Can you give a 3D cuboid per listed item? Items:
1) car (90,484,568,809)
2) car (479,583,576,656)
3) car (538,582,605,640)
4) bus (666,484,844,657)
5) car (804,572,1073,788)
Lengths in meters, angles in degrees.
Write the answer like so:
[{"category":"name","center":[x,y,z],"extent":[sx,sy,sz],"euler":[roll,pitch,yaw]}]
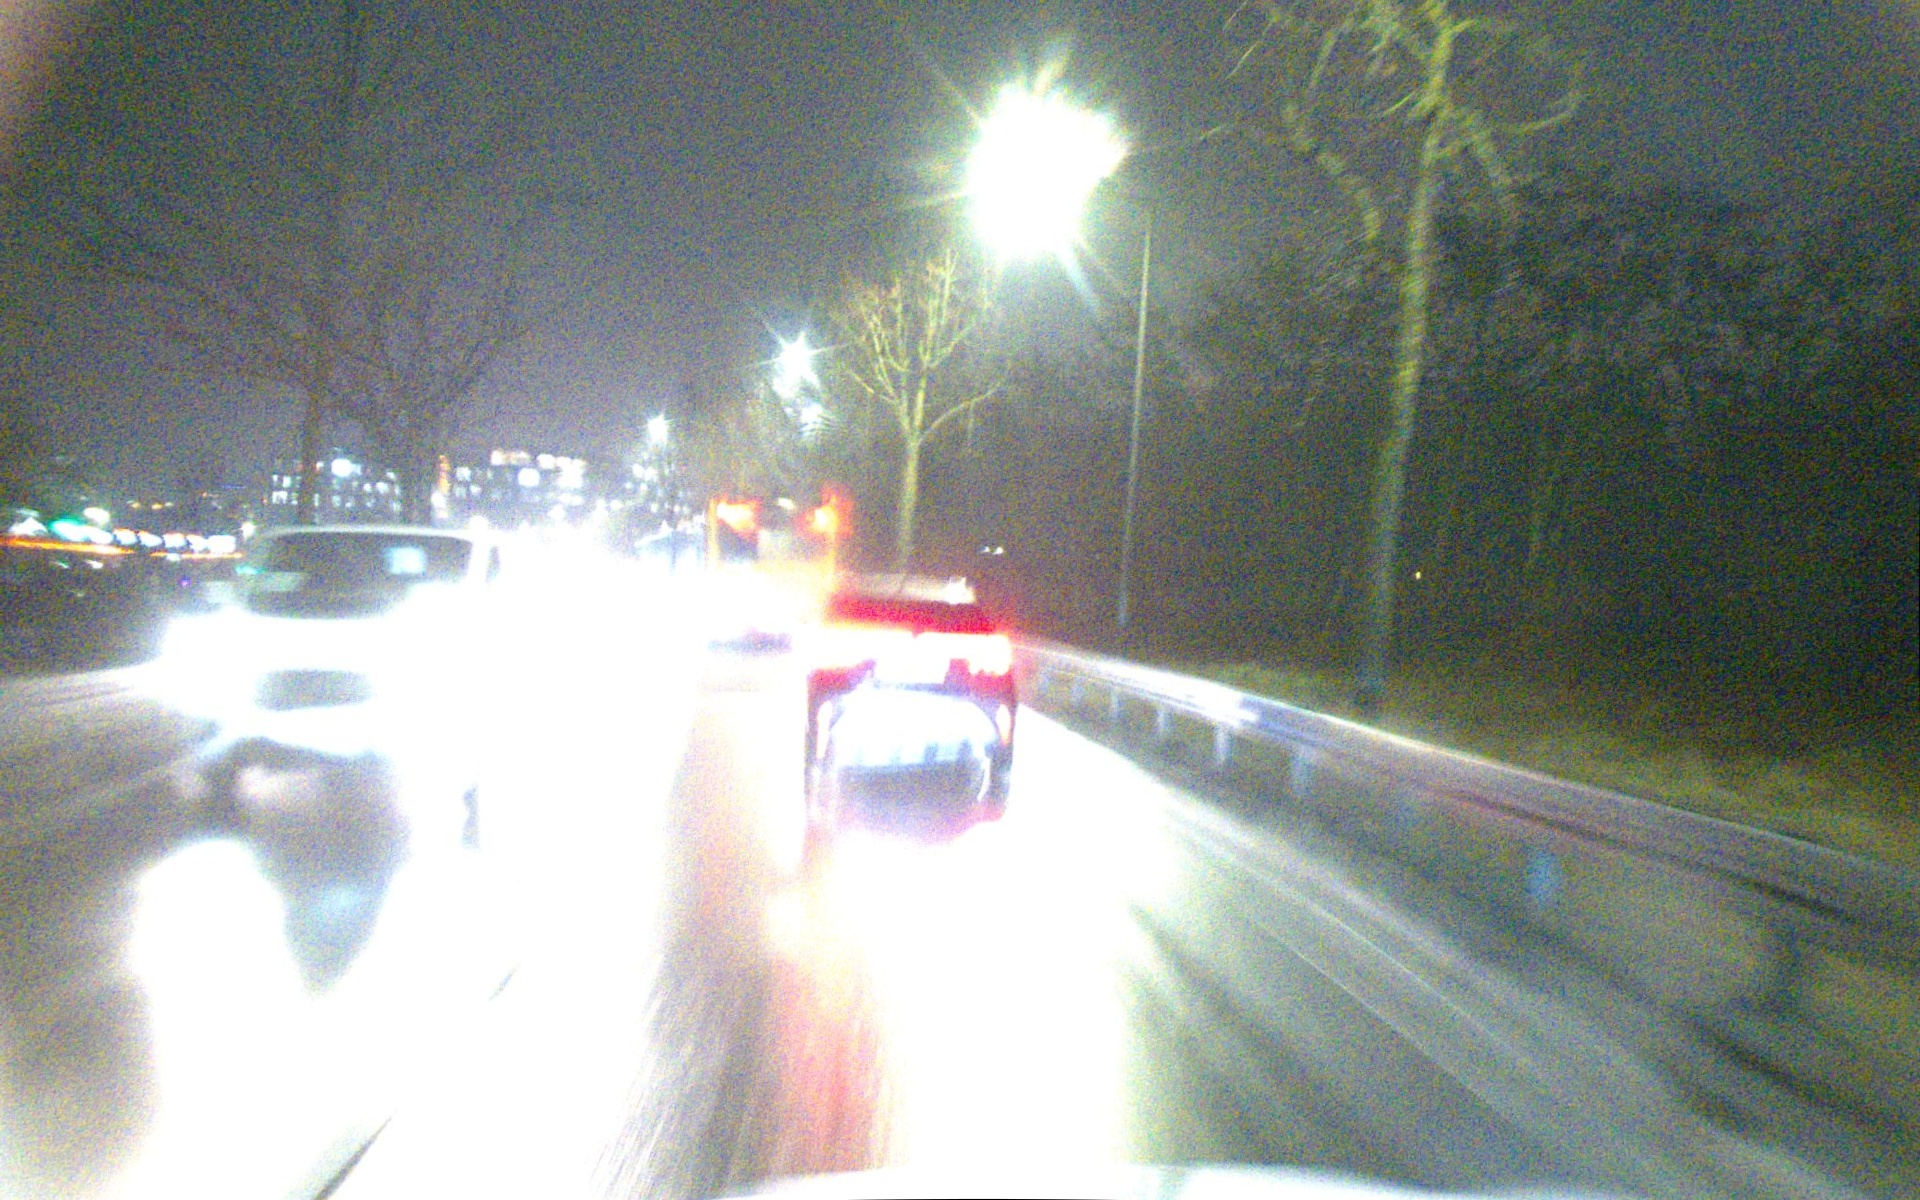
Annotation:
[{"category":"car","center":[-4.611,0.277,13.196],"extent":[2.404,2.022,5.483],"euler":[1,0,-9]},{"category":"car","center":[-8.968,0.366,34.514],"extent":[1.698,1.429,3.853],"euler":[0,0,-11]},{"category":"car","center":[-17.667,0.465,75.087],"extent":[2.655,2.521,5.281],"euler":[0,0,-17]},{"category":"bus","center":[-4.691,-0.577,36.069],"extent":[2.991,3.268,9.021],"euler":[0,0,-13]},{"category":"car","center":[-0.287,0.578,14.202],"extent":[1.954,1.551,3.997],"euler":[1,0,-4]}]
